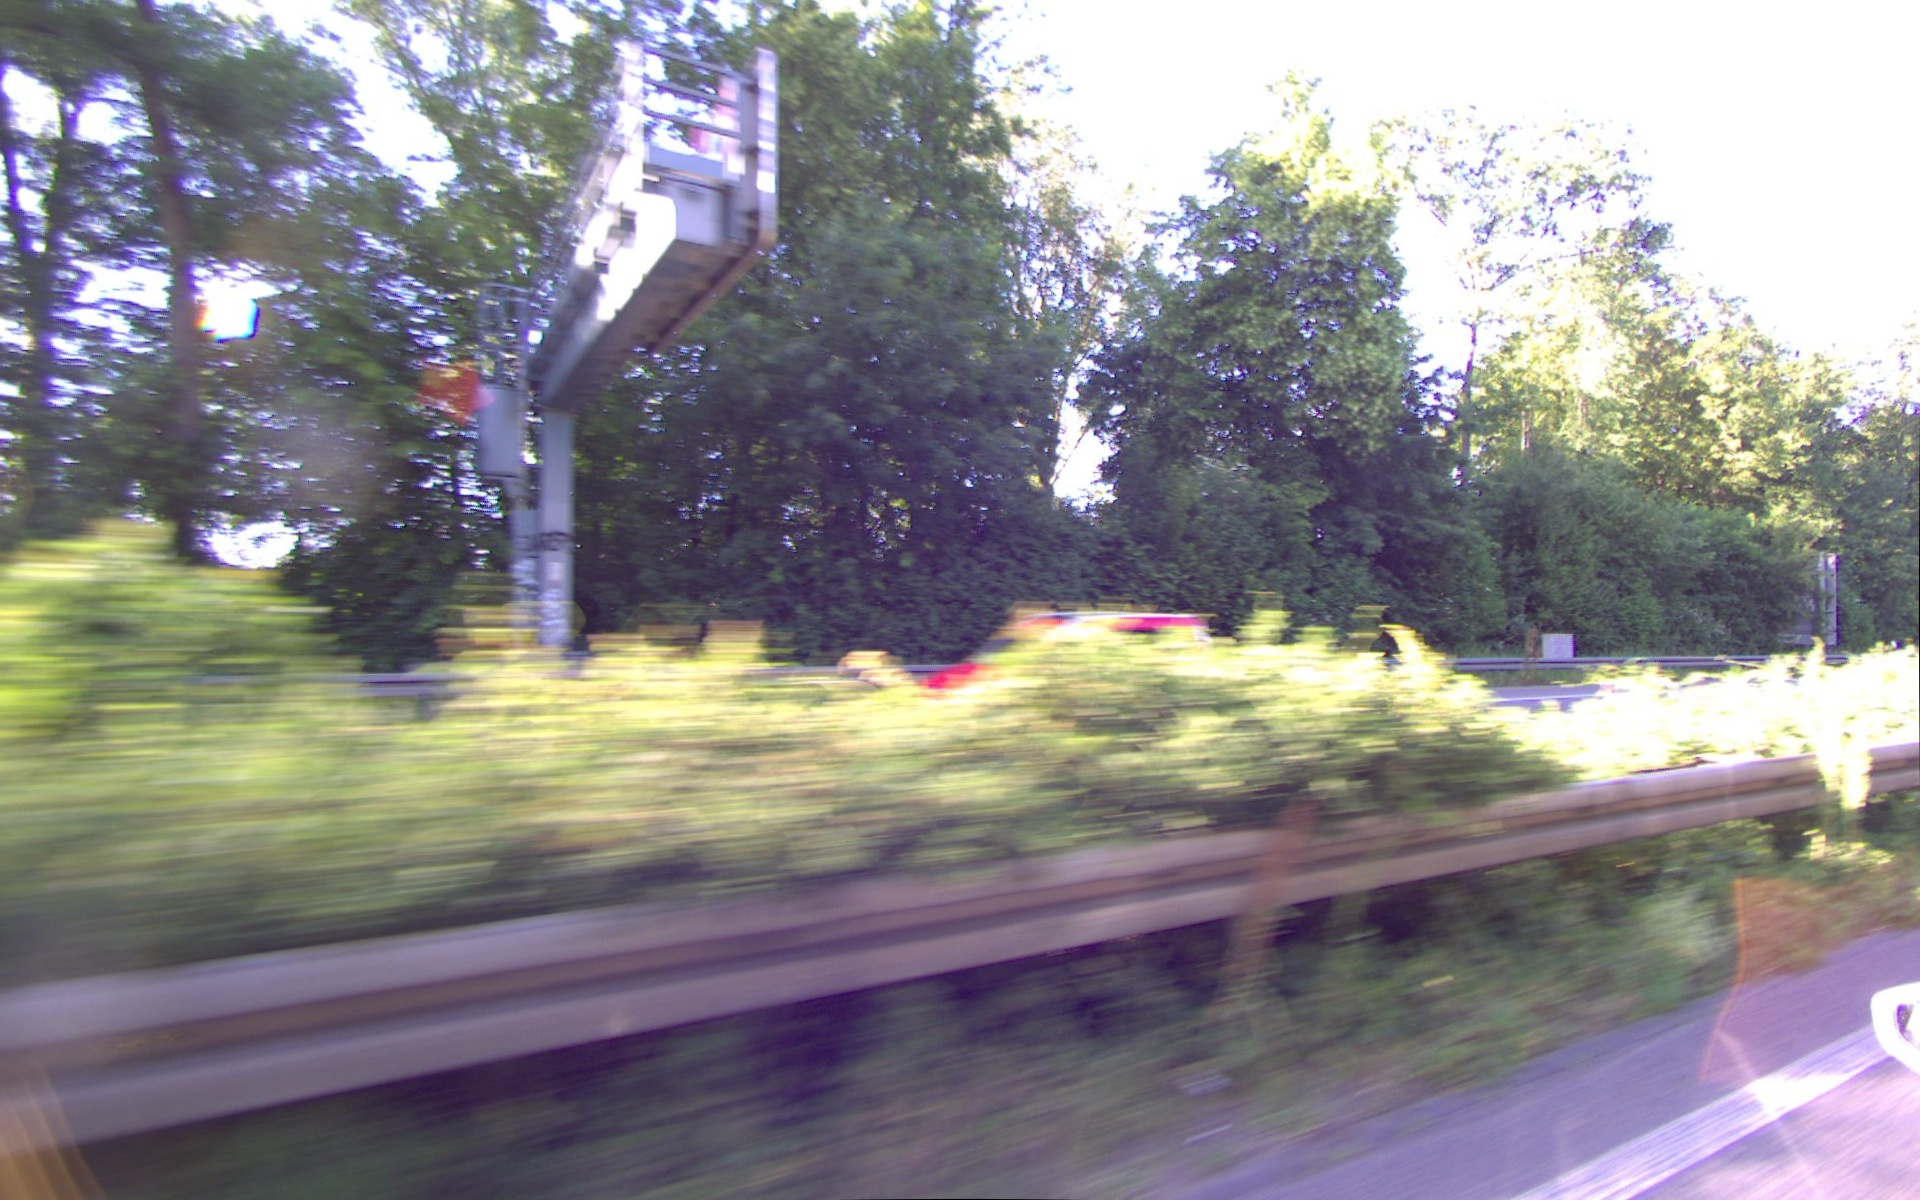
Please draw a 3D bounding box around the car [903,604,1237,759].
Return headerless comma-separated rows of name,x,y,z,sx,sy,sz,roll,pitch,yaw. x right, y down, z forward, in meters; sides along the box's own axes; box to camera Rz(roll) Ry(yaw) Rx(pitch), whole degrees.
car,1.594,1.052,13.988,4.473,1.834,1.708,2,0,-31
